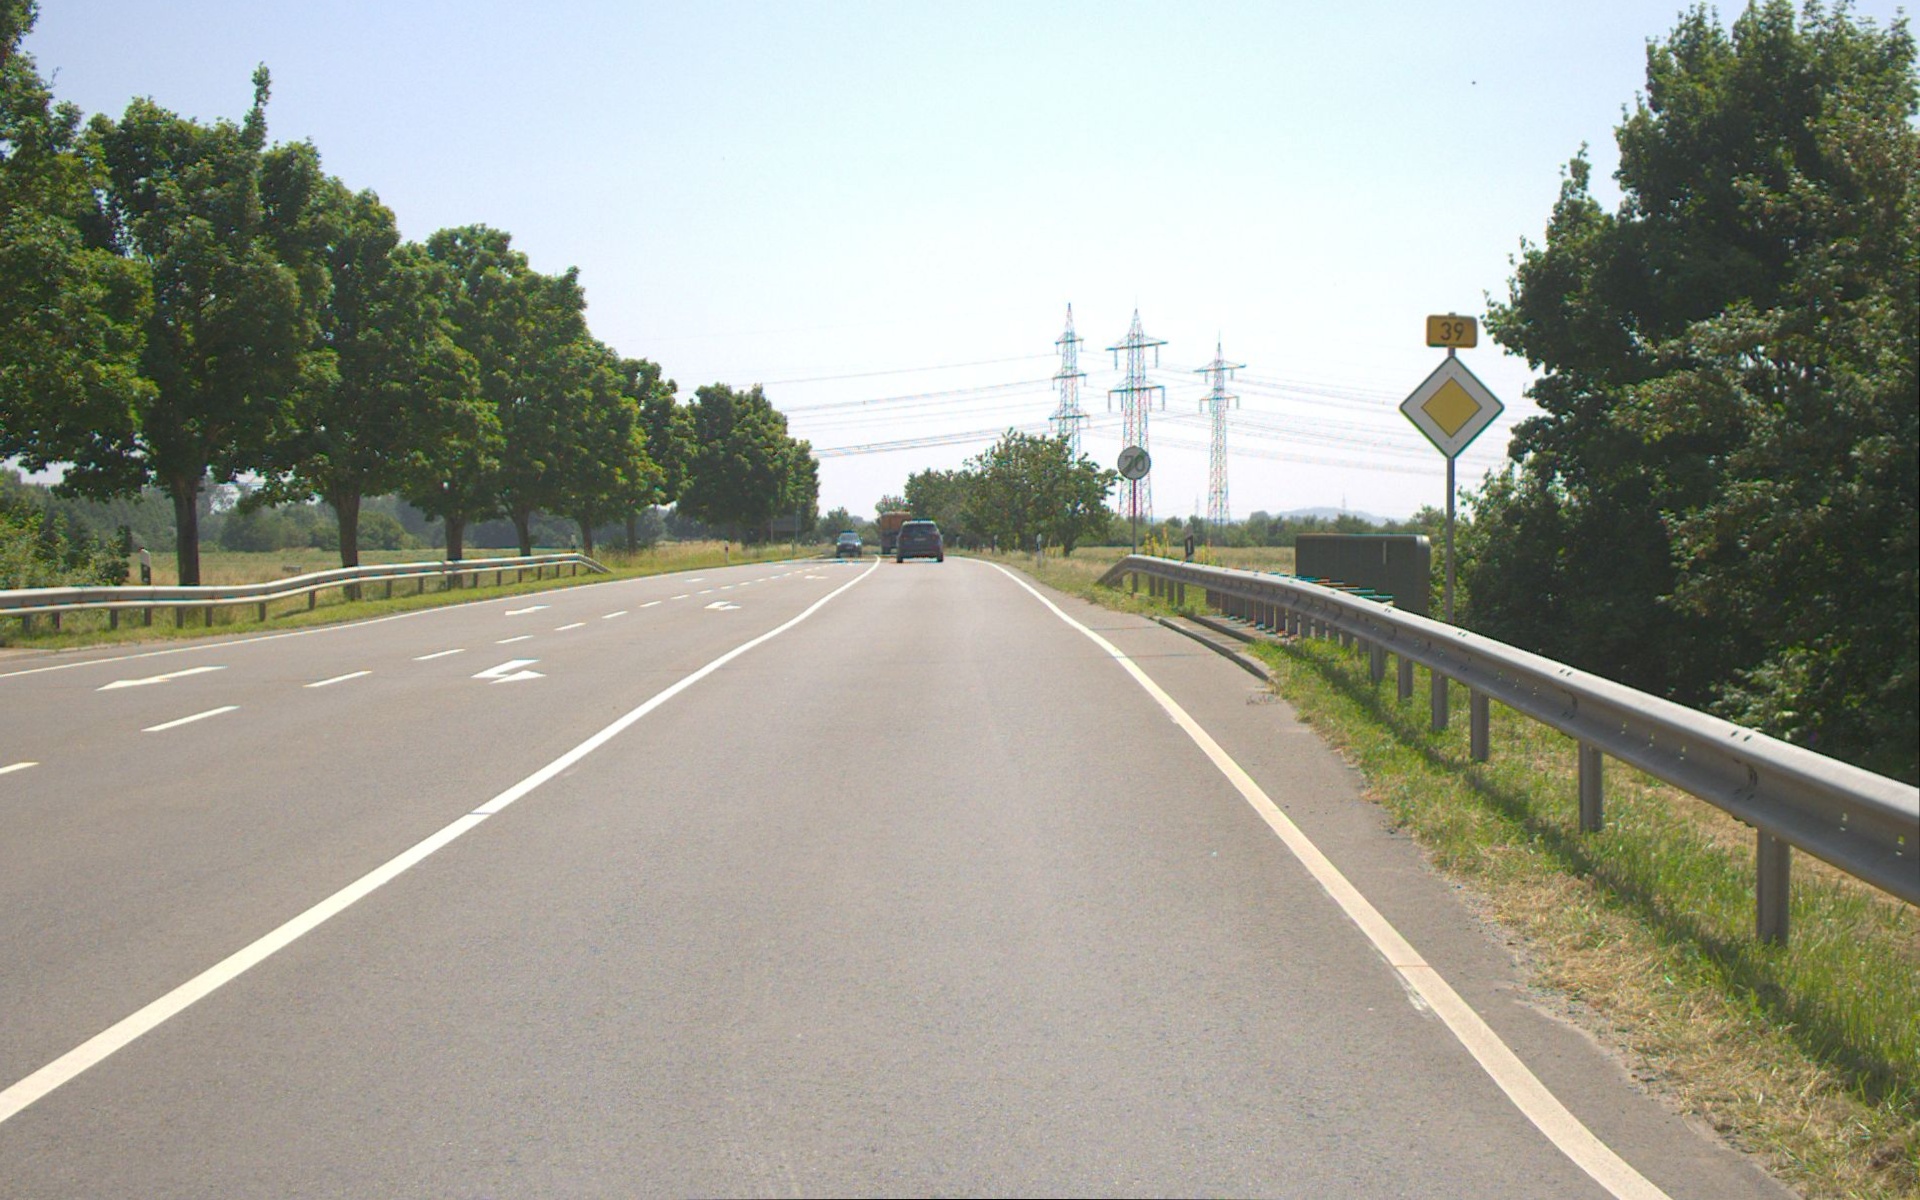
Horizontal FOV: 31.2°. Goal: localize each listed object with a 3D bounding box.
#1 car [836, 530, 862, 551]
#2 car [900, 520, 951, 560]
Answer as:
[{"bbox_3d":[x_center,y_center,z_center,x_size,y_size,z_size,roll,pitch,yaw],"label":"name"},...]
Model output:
[{"bbox_3d":[-7.850,-4.220,243.500,1.739,1.468,4.619,-1,1,-2],"label":"car"},{"bbox_3d":[-1.413,-2.433,139.038,1.884,1.513,4.040,2,1,-2],"label":"car"}]
